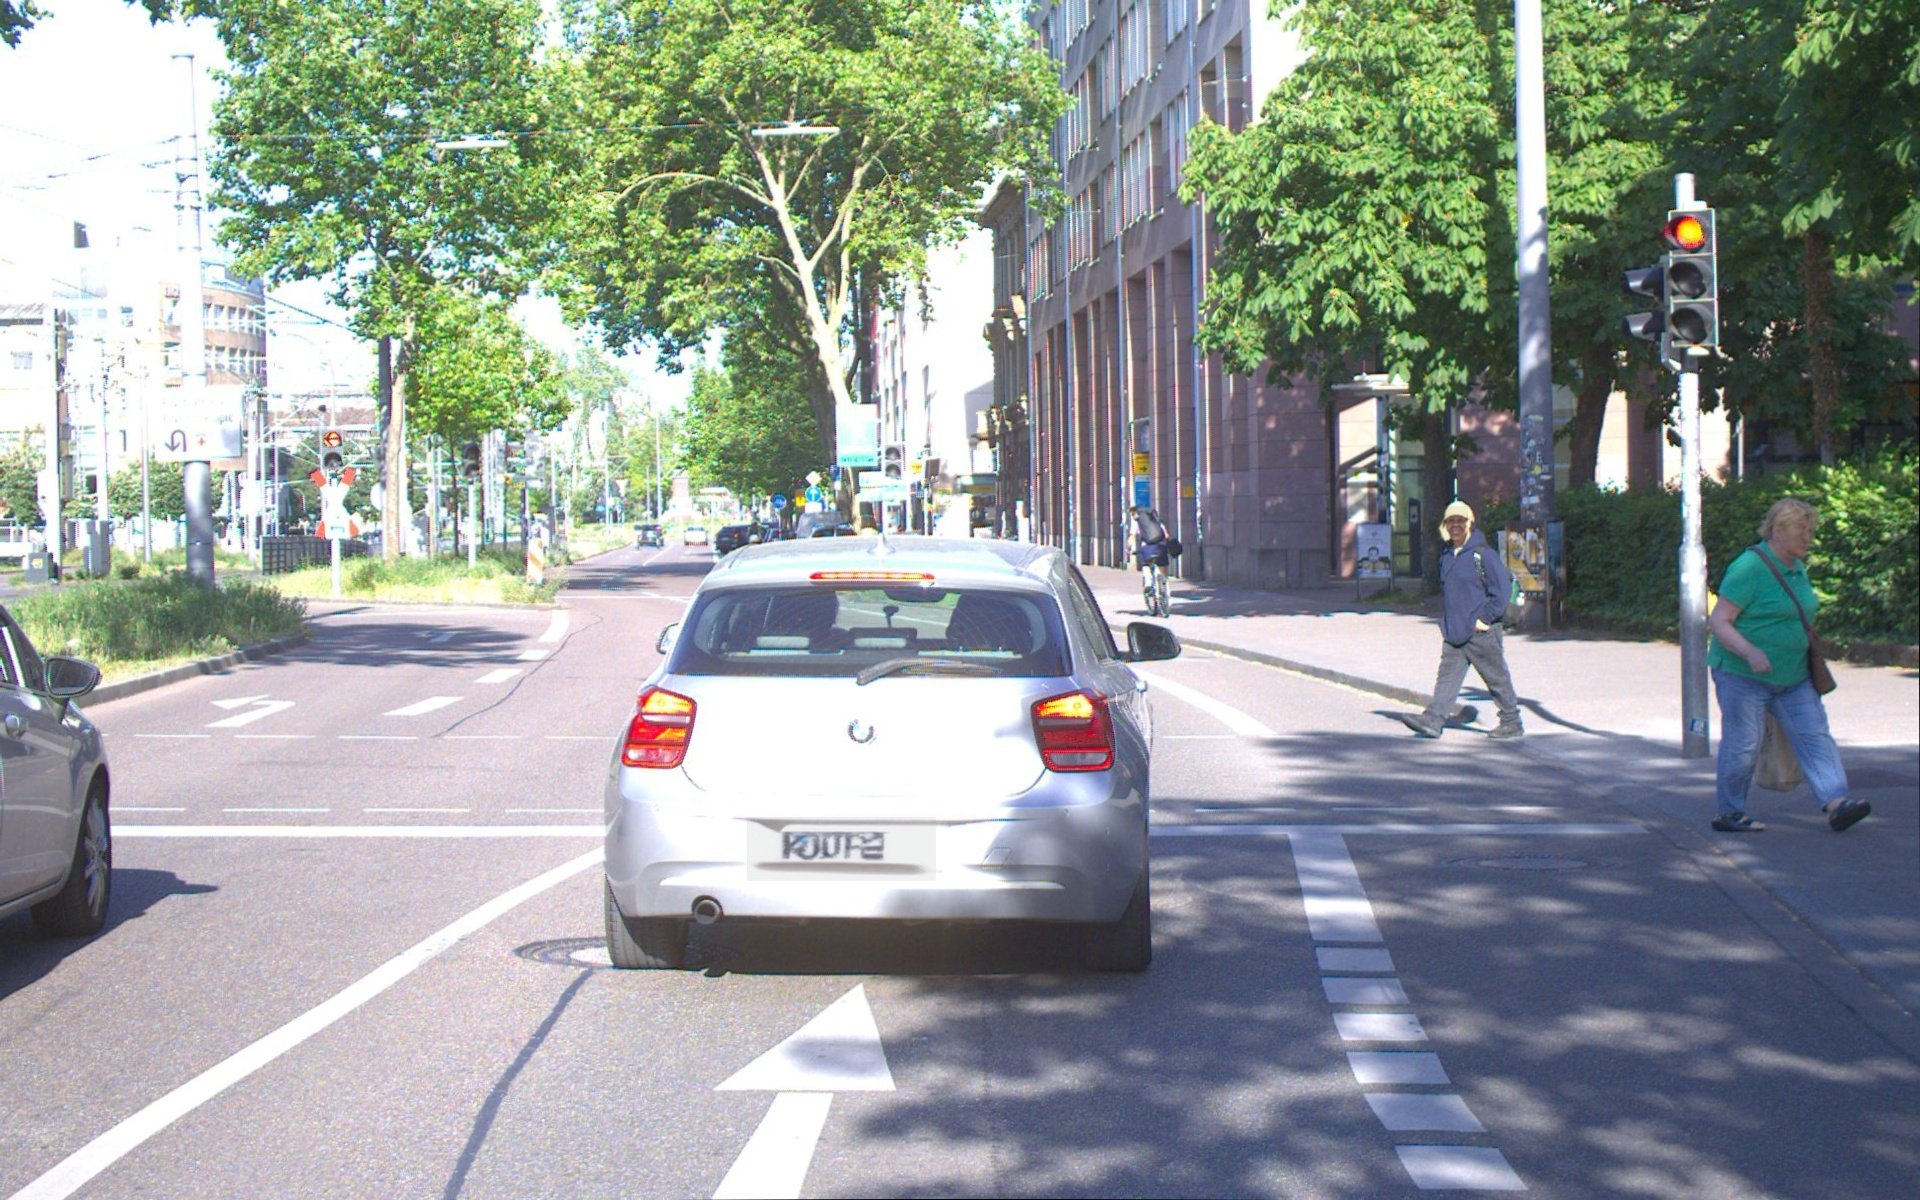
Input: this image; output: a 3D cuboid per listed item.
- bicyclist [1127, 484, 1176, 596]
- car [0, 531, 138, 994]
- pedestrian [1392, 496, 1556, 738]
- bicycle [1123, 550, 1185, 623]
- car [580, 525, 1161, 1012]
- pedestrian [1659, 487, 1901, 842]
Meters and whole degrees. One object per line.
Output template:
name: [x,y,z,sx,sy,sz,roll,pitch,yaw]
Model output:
bicyclist: [2.889,-0.902,51.745,0.658,1.651,0.765,-2,1,6]
car: [-3.743,0.486,10.580,1.660,1.404,3.632,0,1,-2]
pedestrian: [3.498,0.106,23.424,0.940,1.623,0.629,0,1,-12]
bicycle: [2.923,-0.214,51.689,0.832,1.038,1.874,-2,1,6]
car: [-0.166,0.467,12.324,1.730,1.385,3.840,1,2,4]
pedestrian: [3.768,0.283,15.793,0.831,1.570,0.737,-1,1,34]
